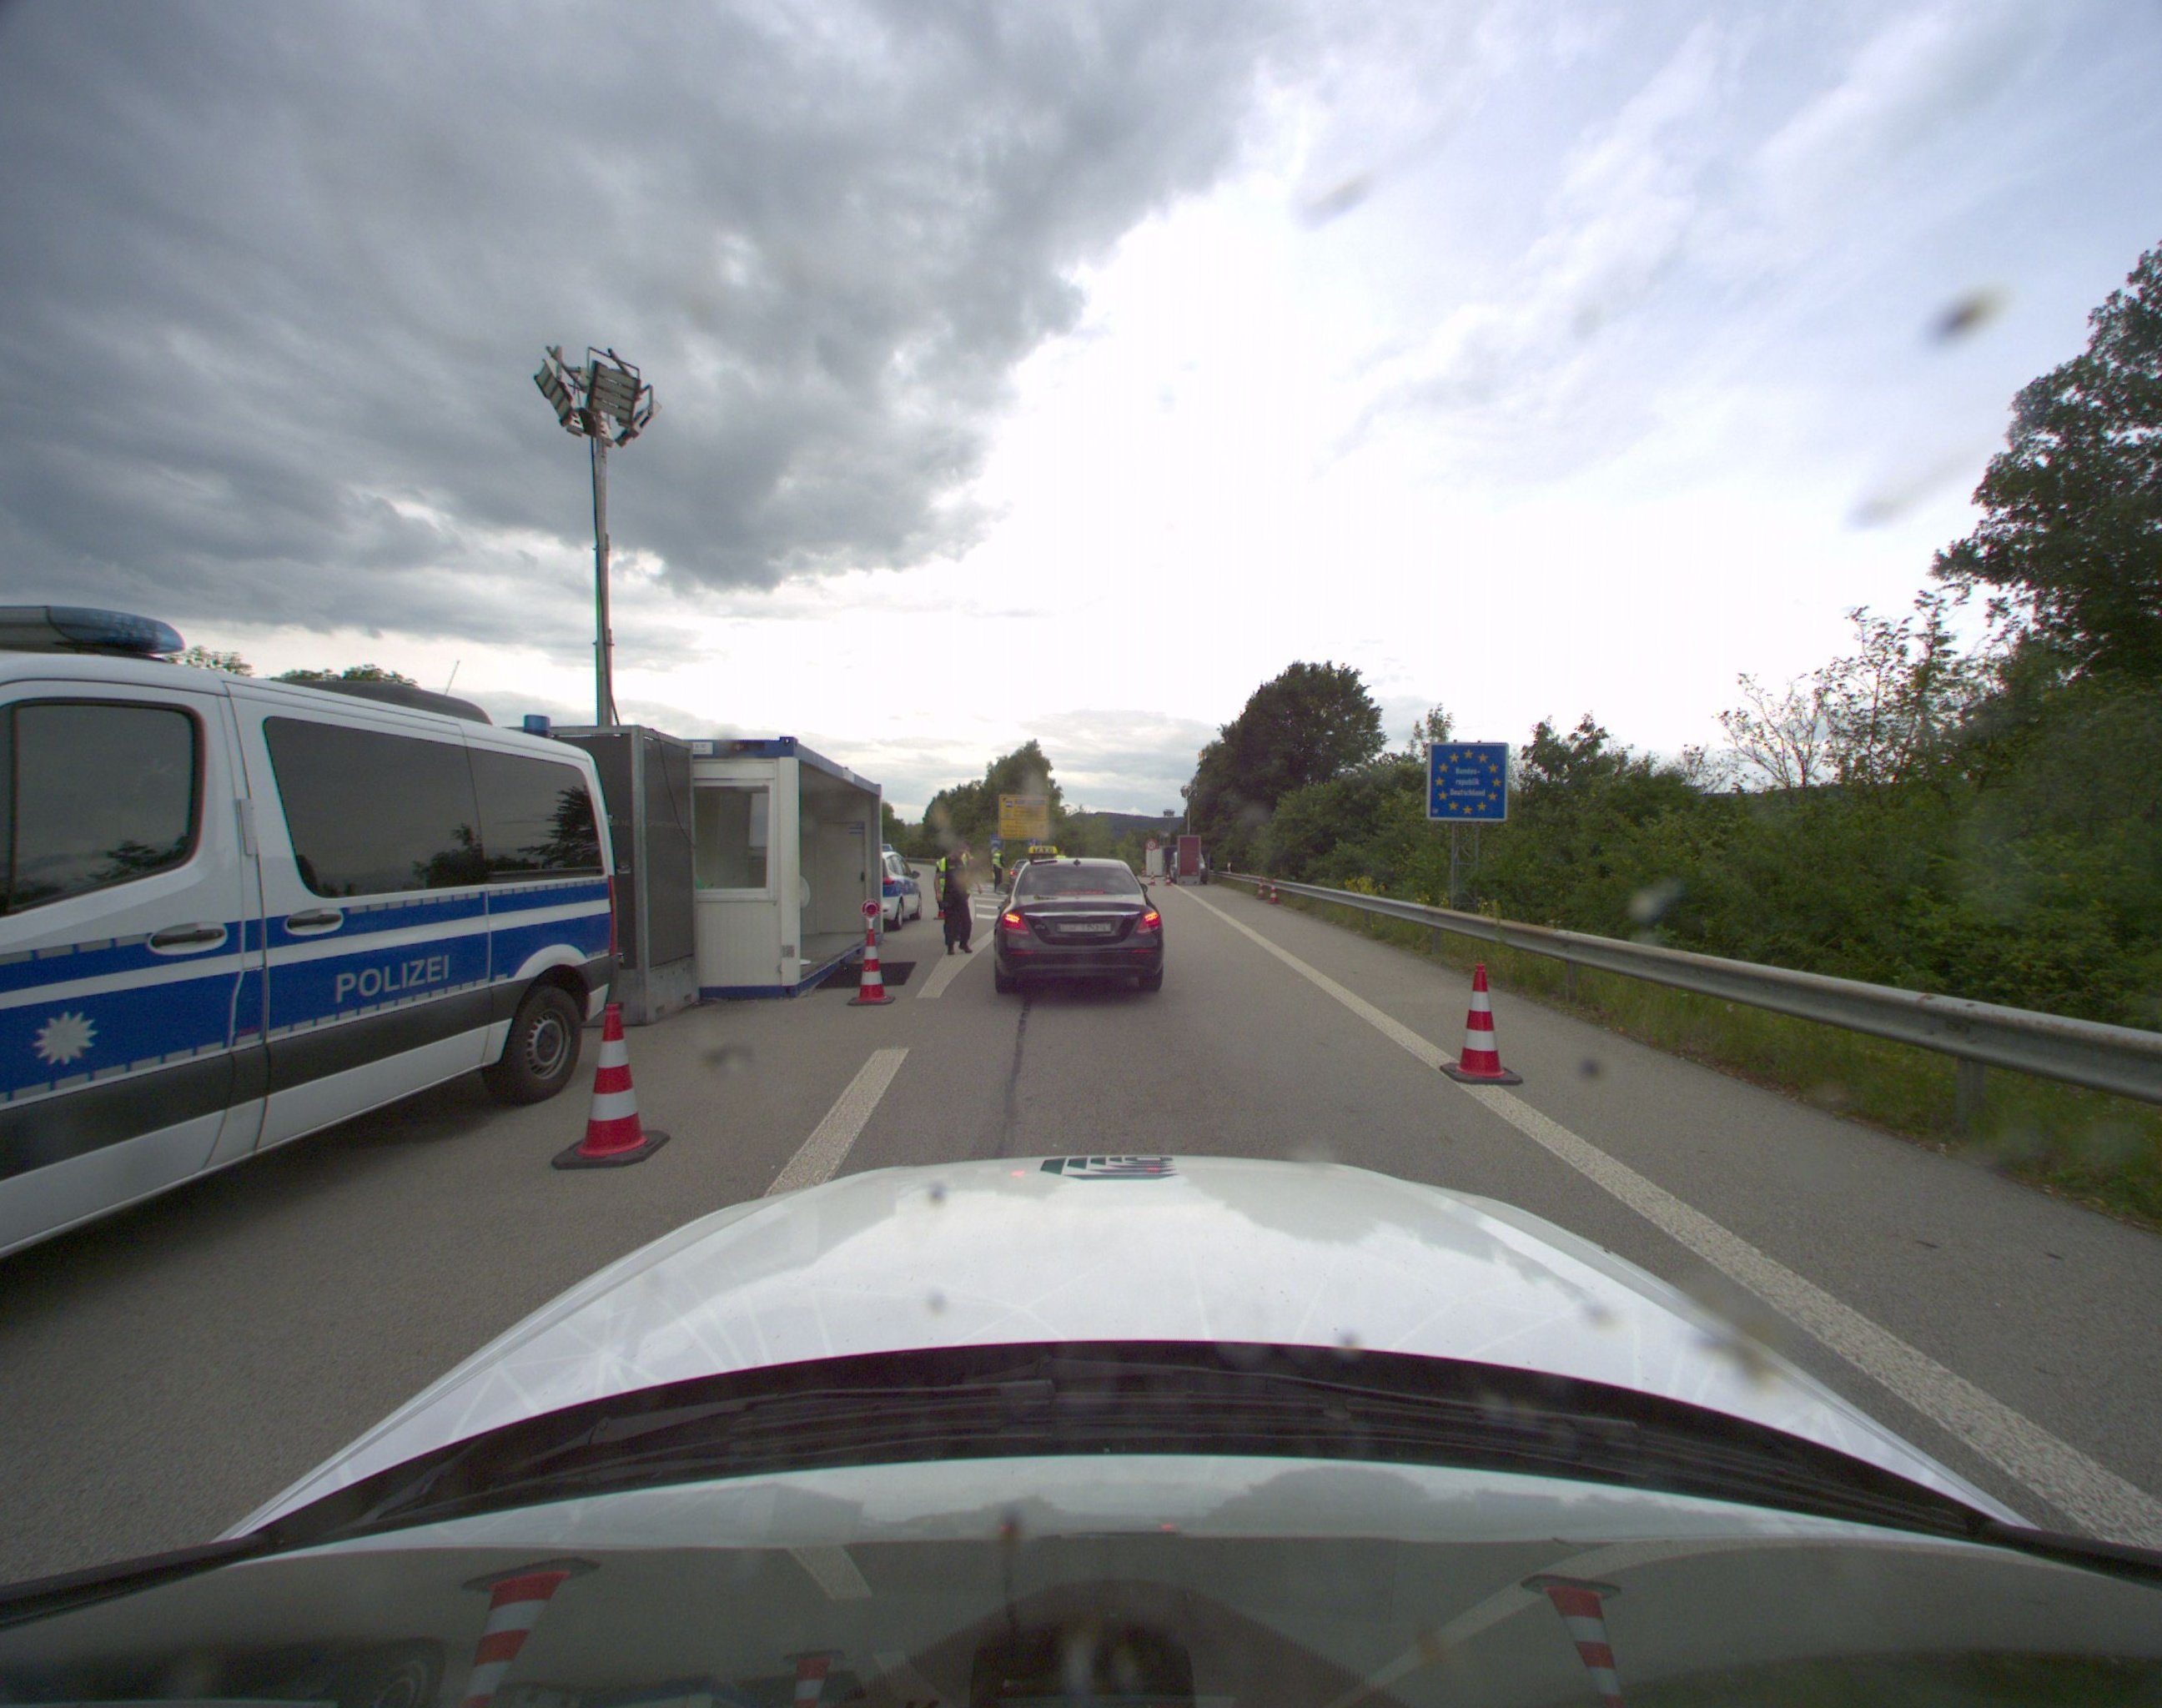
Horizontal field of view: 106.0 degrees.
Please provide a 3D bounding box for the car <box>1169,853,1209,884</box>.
[{"bbox_3d":[6.367,0.813,48.430,1.908,1.678,5.087,1,0,3],"label":"car"}]

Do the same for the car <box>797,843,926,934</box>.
[{"bbox_3d":[-4.623,0.659,17.746,1.864,1.743,4.004,-1,0,-3],"label":"car"}]

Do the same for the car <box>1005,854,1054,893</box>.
[{"bbox_3d":[-2.047,0.747,33.528,1.850,1.498,4.254,-1,0,-2],"label":"car"}]

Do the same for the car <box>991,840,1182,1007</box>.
[{"bbox_3d":[-0.064,0.669,10.090,1.851,1.595,4.370,-1,0,-3],"label":"car"}]

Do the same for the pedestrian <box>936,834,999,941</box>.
[{"bbox_3d":[-1.999,0.582,14.393,0.806,1.830,0.813,-1,0,18],"label":"pedestrian"}]

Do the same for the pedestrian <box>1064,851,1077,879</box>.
[{"bbox_3d":[-0.753,0.743,56.876,0.659,1.961,0.763,-1,-1,17],"label":"pedestrian"}]

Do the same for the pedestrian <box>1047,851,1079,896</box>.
[{"bbox_3d":[-0.691,0.744,31.342,0.914,1.698,0.905,0,-1,-31],"label":"pedestrian"}]

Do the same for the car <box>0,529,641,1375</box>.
[{"bbox_3d":[-4.193,0.291,3.355,2.024,2.463,5.275,-1,0,-2],"label":"car"}]

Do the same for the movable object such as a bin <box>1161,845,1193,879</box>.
[{"bbox_3d":[6.719,0.522,57.273,1.985,2.280,4.172,0,0,4],"label":"movable object such as a bin"}]

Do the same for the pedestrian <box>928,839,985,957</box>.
[{"bbox_3d":[-1.911,0.642,12.412,0.761,1.718,0.814,-1,0,-15],"label":"pedestrian"}]

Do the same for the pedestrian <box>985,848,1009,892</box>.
[{"bbox_3d":[-3.418,0.642,33.071,0.911,1.769,0.908,0,0,-11],"label":"pedestrian"}]
